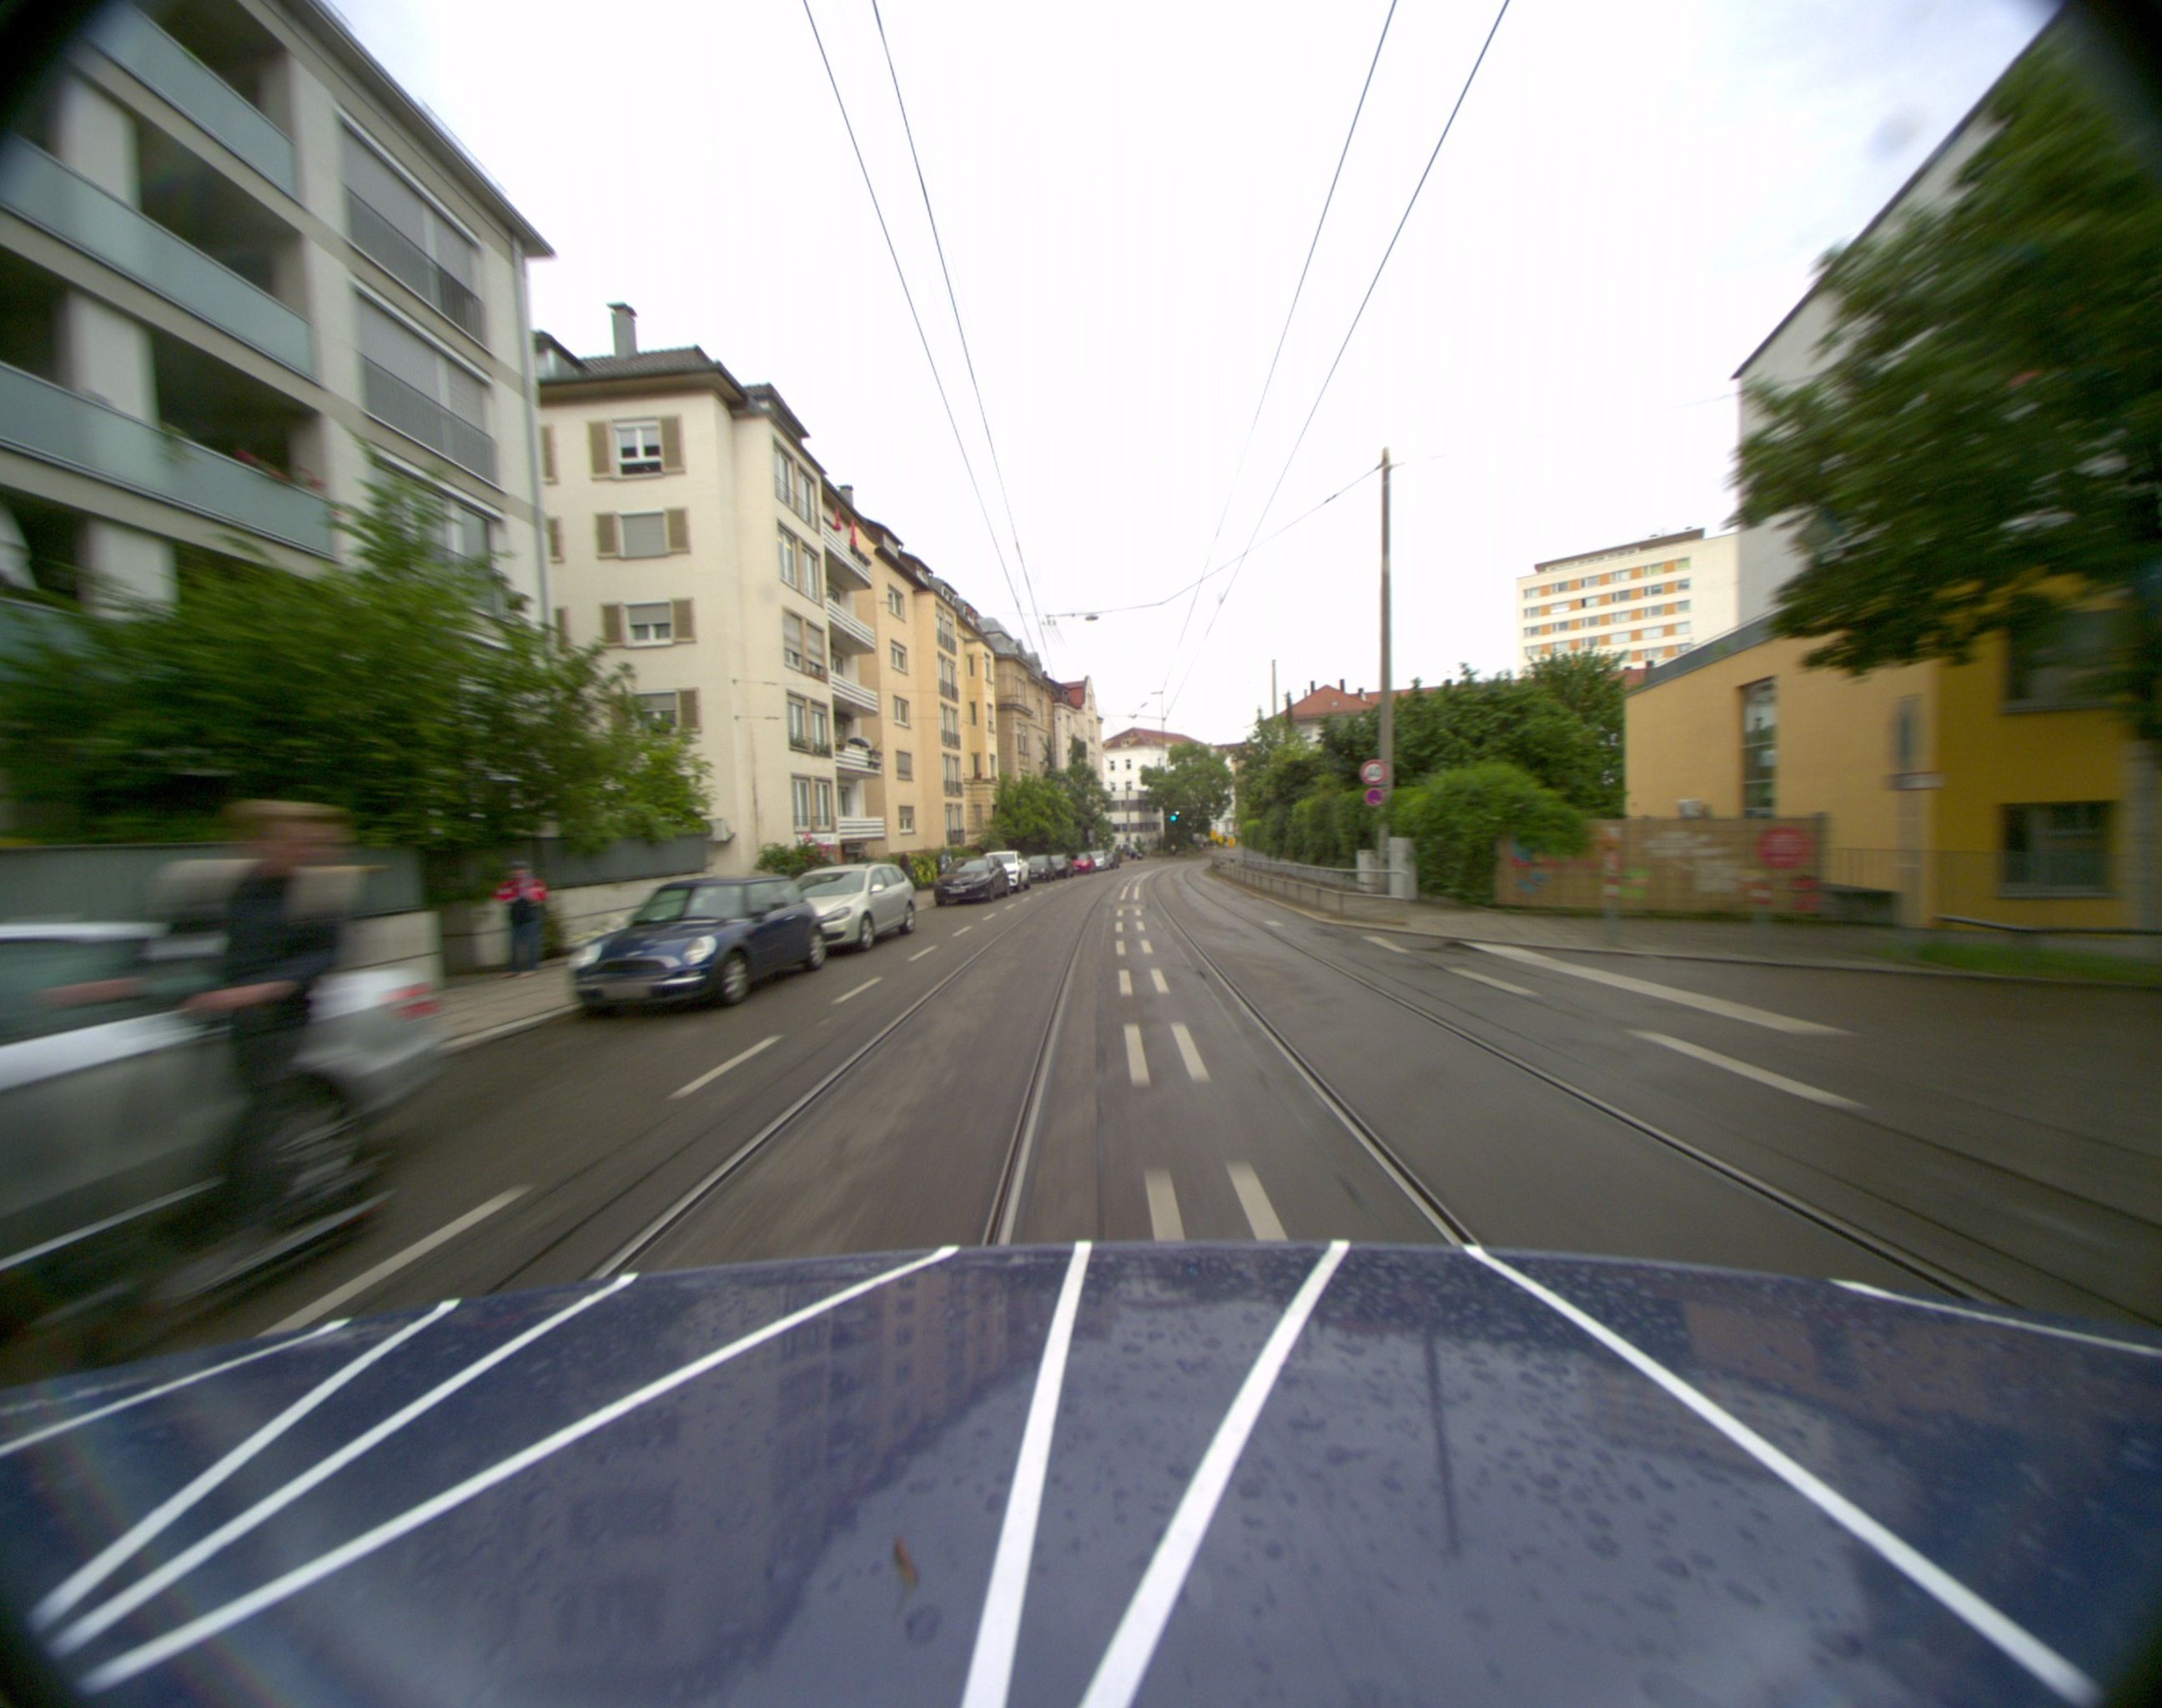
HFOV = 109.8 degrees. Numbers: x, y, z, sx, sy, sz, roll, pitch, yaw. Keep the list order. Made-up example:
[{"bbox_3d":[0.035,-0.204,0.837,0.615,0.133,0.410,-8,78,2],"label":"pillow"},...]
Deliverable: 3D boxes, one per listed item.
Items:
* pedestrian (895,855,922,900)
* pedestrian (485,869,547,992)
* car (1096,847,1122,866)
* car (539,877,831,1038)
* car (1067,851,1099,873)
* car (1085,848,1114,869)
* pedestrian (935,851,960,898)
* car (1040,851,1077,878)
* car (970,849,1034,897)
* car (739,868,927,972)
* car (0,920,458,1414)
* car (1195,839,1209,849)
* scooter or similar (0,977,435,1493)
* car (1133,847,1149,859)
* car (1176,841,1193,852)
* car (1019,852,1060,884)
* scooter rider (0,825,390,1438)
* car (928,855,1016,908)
[{"bbox_3d":[-6.112,0.807,26.966,0.667,1.560,0.915,0,1,7],"label":"pedestrian"},{"bbox_3d":[-7.601,1.003,10.243,0.583,1.577,0.568,-2,1,-31],"label":"pedestrian"},{"bbox_3d":[2.454,0.208,66.020,1.613,1.434,3.690,-4,0,11],"label":"car"},{"bbox_3d":[-4.513,1.083,9.304,1.600,1.415,3.515,-3,0,1],"label":"car"},{"bbox_3d":[0.198,0.526,51.867,1.556,1.360,3.126,-4,0,11],"label":"car"},{"bbox_3d":[1.494,0.324,60.788,1.613,1.434,3.690,-4,0,11],"label":"car"},{"bbox_3d":[-4.891,0.732,27.934,0.717,1.703,0.665,0,1,7],"label":"pedestrian"},{"bbox_3d":[-1.274,0.594,44.415,1.658,1.360,3.637,-4,0,5],"label":"car"},{"bbox_3d":[-3.023,0.695,29.960,1.798,1.612,3.868,-4,0,3],"label":"car"},{"bbox_3d":[-4.294,1.066,13.992,1.722,1.458,4.391,-3,0,3],"label":"car"},{"bbox_3d":[-4.595,1.179,2.027,1.863,1.506,4.789,-3,0,-1],"label":"car"},{"bbox_3d":[20.753,-1.684,130.078,1.796,1.502,4.004,-2,1,17],"label":"car"},{"bbox_3d":[-3.113,1.172,2.674,0.645,1.254,1.089,-4,1,0],"label":"scooter or similar"},{"bbox_3d":[8.194,-0.177,103.238,1.613,1.434,3.690,-4,0,11],"label":"car"},{"bbox_3d":[15.197,-1.101,111.671,1.796,1.502,4.004,-2,1,17],"label":"car"},{"bbox_3d":[-2.099,0.668,39.217,1.590,1.434,3.476,-4,0,4],"label":"car"},{"bbox_3d":[-3.136,0.850,2.656,0.645,1.847,0.689,-4,2,0],"label":"scooter rider"},{"bbox_3d":[-3.474,0.848,25.091,1.798,1.444,4.104,-4,0,6],"label":"car"}]
